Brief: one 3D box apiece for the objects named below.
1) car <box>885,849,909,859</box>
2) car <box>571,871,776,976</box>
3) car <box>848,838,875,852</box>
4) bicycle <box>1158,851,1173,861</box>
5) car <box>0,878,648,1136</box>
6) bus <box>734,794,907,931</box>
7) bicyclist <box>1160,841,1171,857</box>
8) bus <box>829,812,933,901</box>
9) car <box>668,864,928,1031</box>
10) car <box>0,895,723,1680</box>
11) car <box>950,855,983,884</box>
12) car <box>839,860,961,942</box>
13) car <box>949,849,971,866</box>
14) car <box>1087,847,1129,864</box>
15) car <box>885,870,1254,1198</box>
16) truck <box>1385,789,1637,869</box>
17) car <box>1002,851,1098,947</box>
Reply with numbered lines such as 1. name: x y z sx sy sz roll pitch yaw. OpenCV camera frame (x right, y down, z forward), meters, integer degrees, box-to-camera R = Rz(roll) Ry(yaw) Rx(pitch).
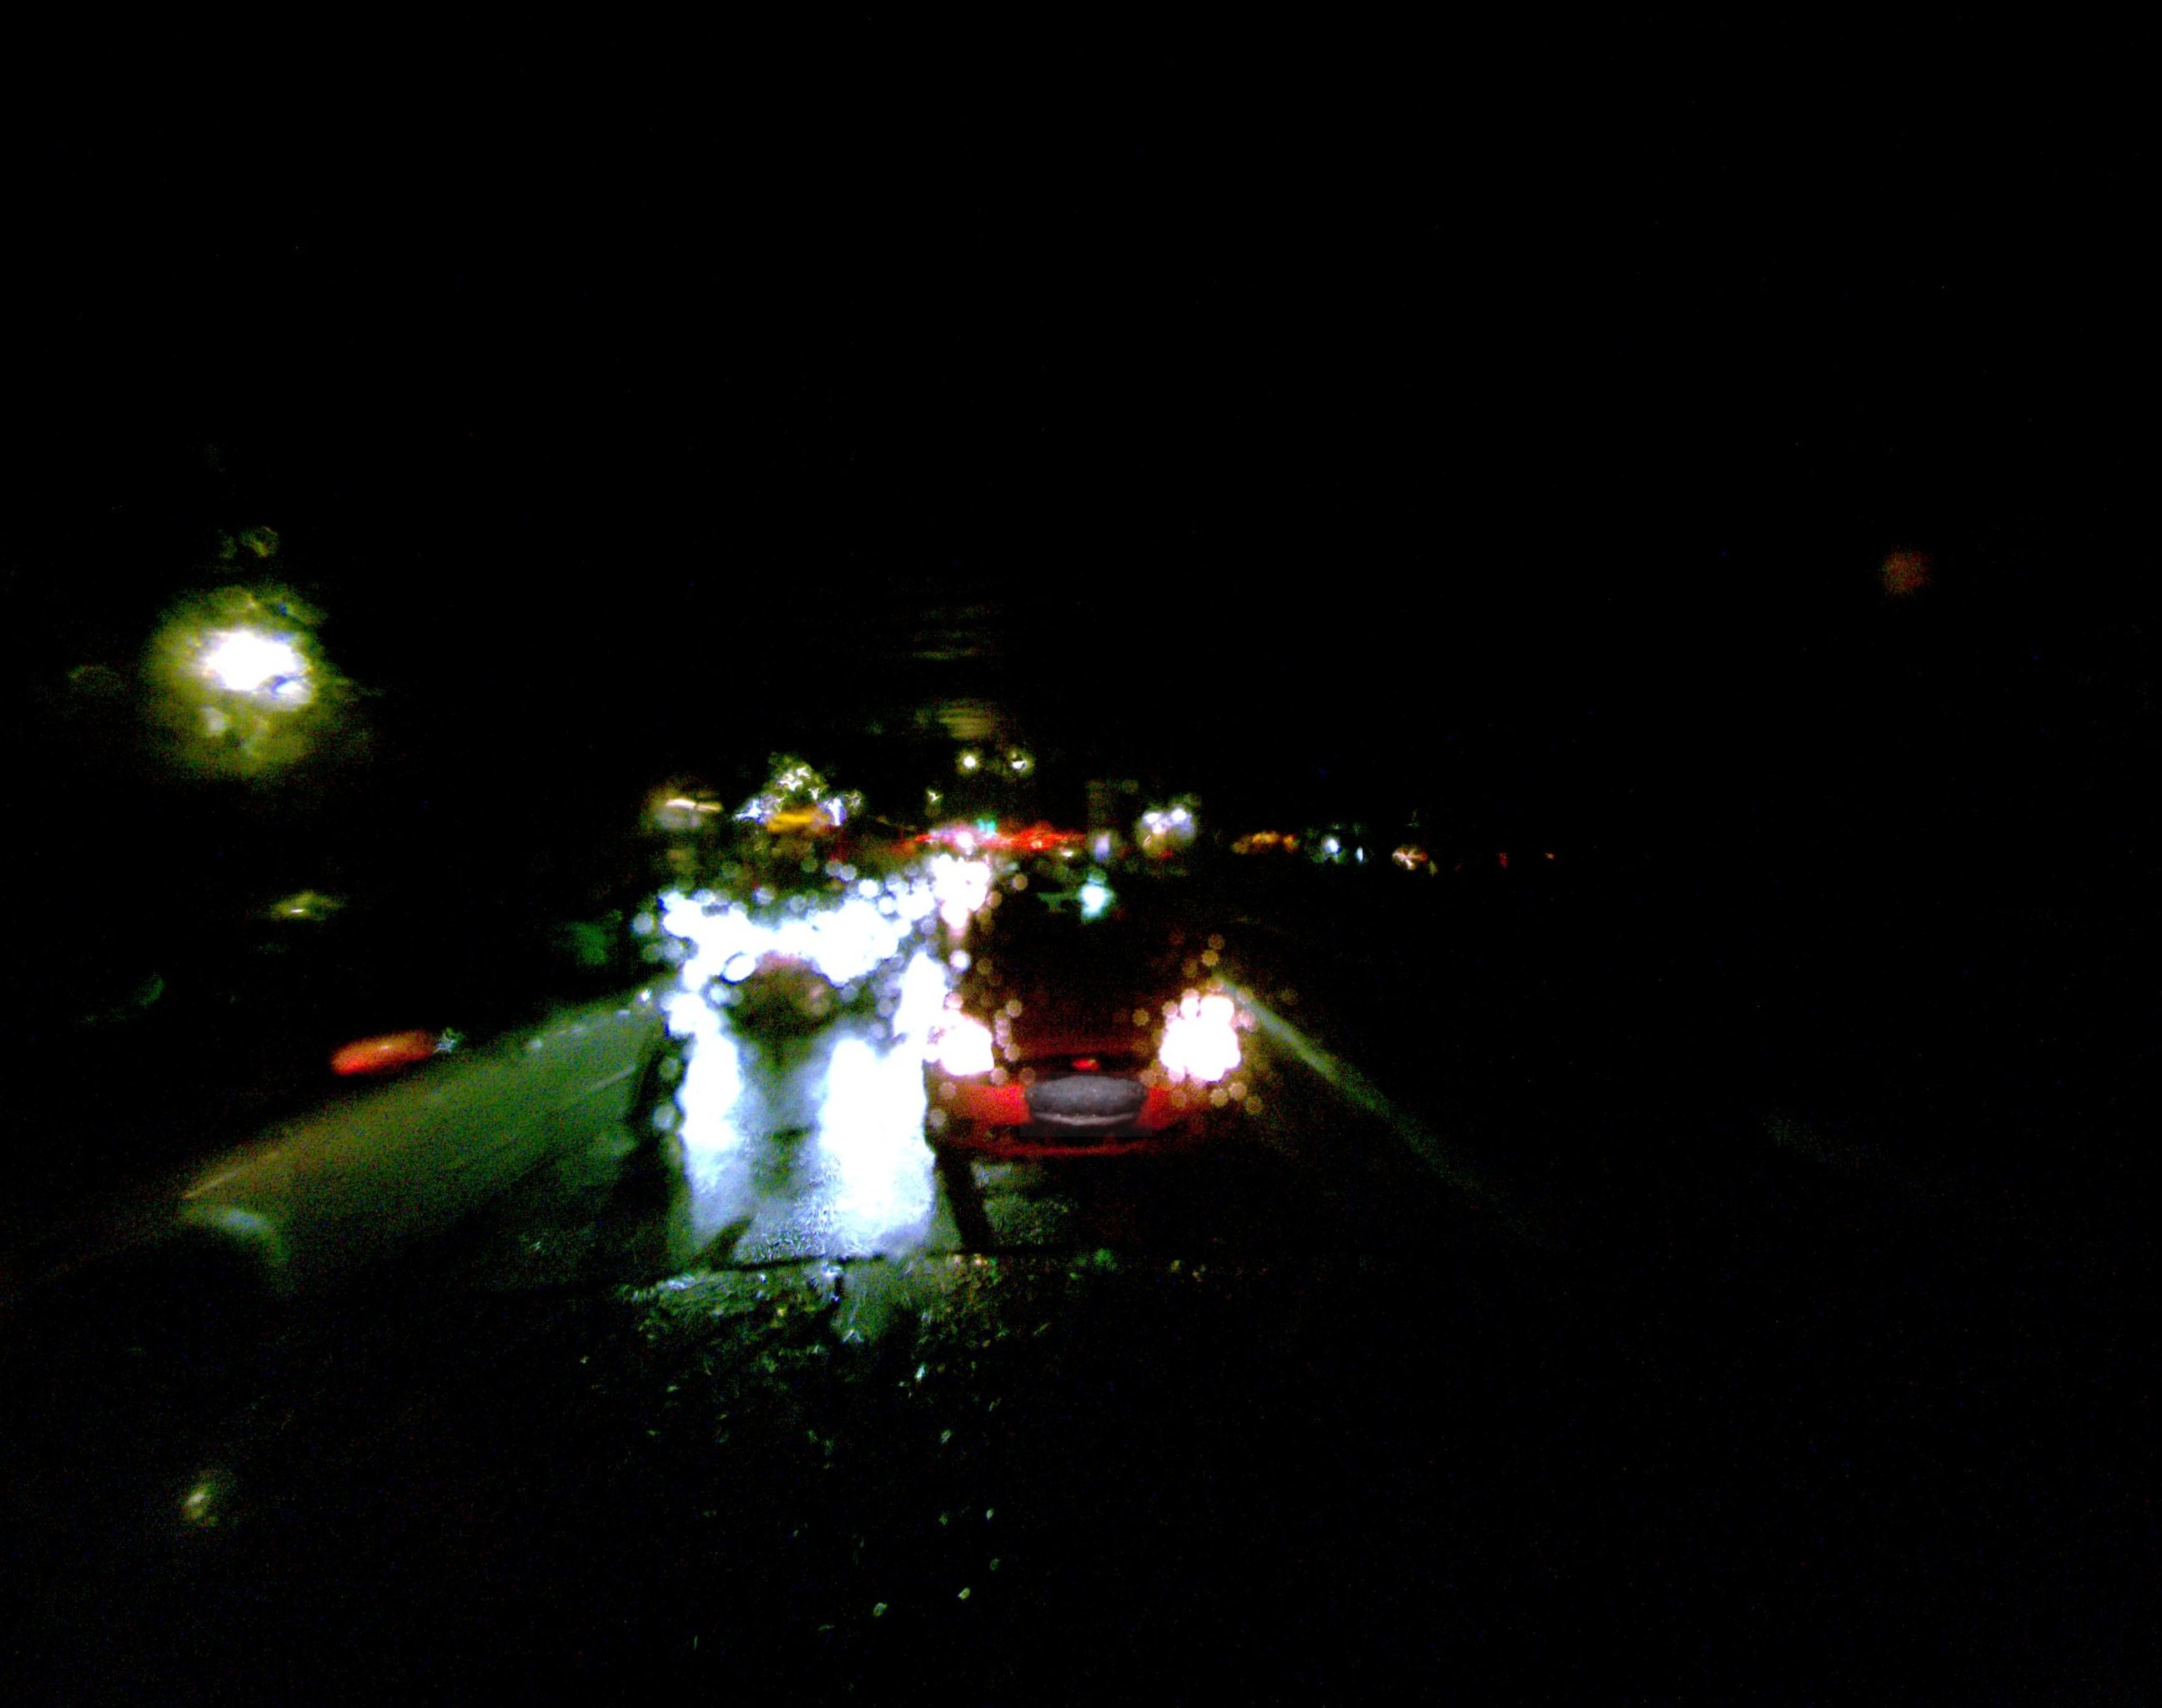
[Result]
1. car: -27.126 0.016 111.725 1.833 1.456 4.413 -2 1 -37
2. car: -7.143 1.126 13.848 1.725 1.478 4.160 0 1 -4
3. car: -23.732 -0.965 81.952 1.712 1.382 3.990 -2 1 -32
4. bicycle: 7.499 0.159 67.686 0.629 0.899 2.211 -1 1 -13
5. car: -6.440 1.083 7.381 1.724 1.478 4.786 -1 1 0
6. bus: -7.425 0.140 23.354 2.742 3.258 9.693 -2 1 -5
7. bicyclist: 7.500 -0.421 67.655 0.630 1.427 1.187 -1 1 -13
8. bus: -8.355 0.020 32.978 2.742 3.219 9.693 -2 1 -6
9. car: -3.321 0.990 9.876 1.724 1.478 4.161 -4 1 0
10. car: -3.160 1.024 2.768 1.724 1.438 4.161 -1 1 0
11. car: -6.576 0.842 43.464 1.726 1.478 4.157 0 1 -11
12. car: -3.703 0.907 16.229 1.698 1.455 3.973 0 1 0
13. car: -11.241 0.313 70.693 1.725 1.478 4.159 0 1 -6
14. car: 2.338 0.106 67.657 2.044 1.478 4.489 0 1 -23
15. car: -0.069 0.908 5.613 1.755 1.438 3.973 0 1 0
16. truck: 26.486 -1.499 47.453 13.671 4.416 2.743 -1 1 7
17. car: -0.626 0.807 15.656 1.724 1.695 3.972 0 1 -2
